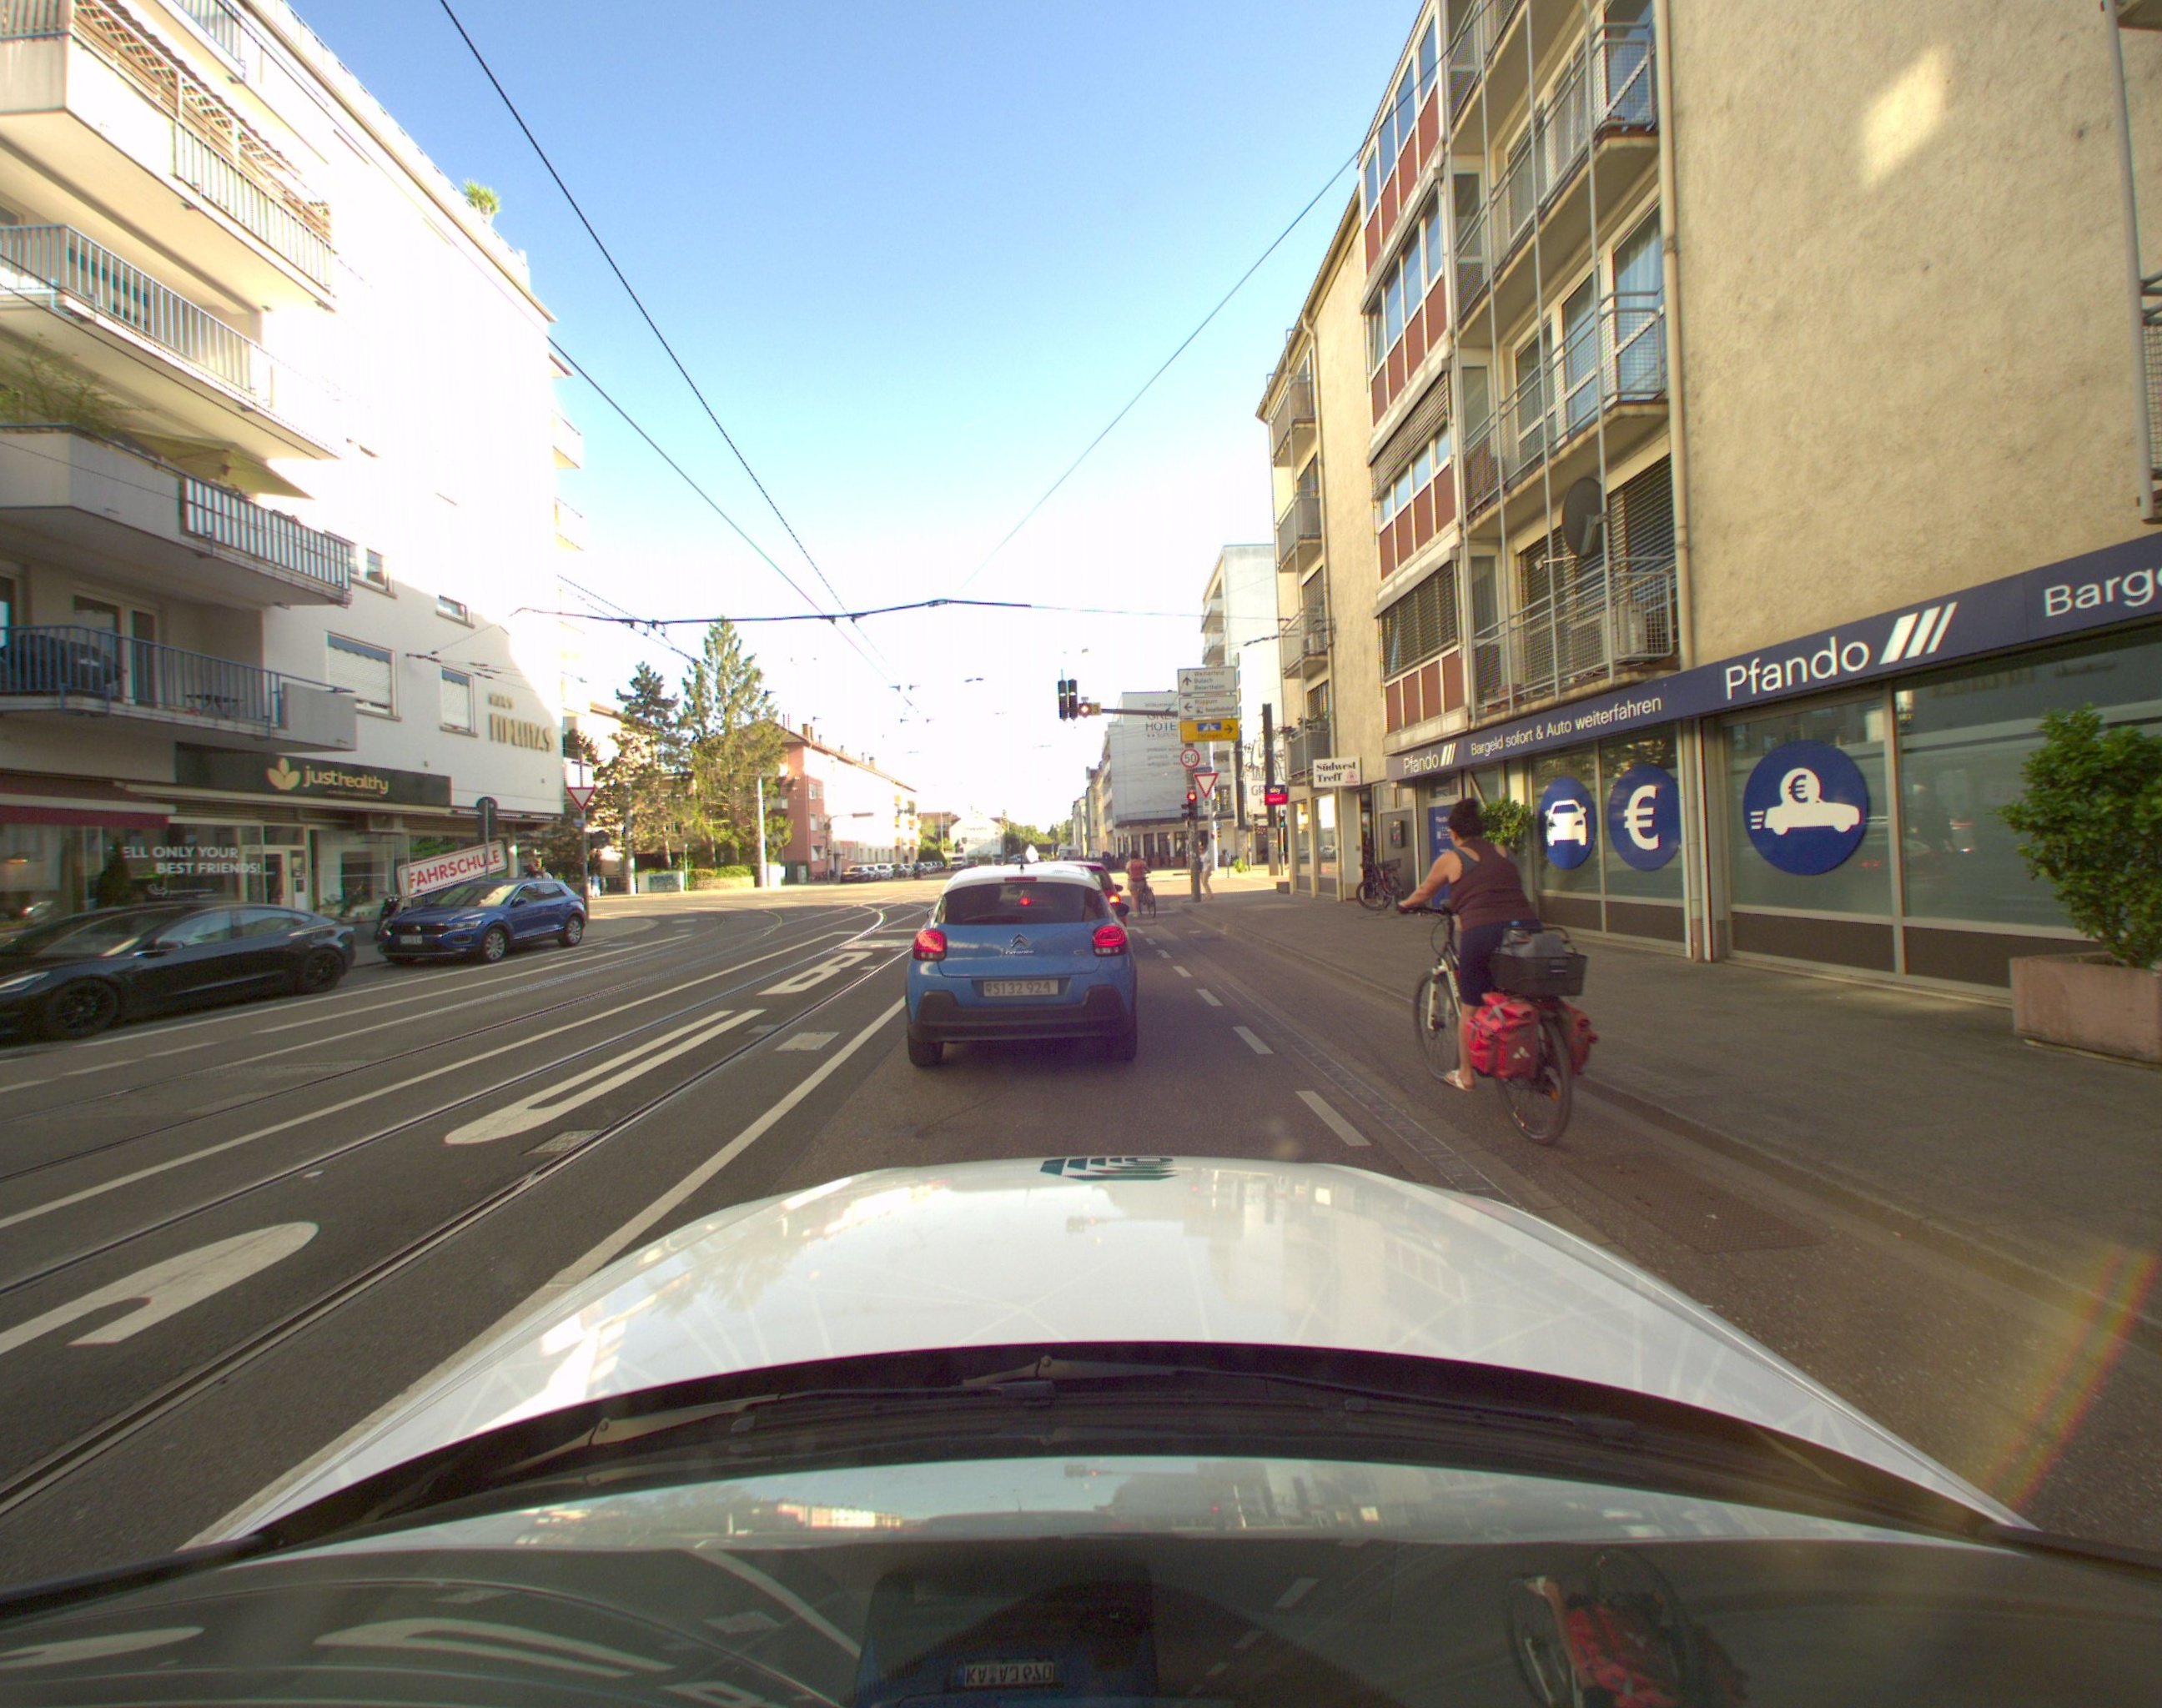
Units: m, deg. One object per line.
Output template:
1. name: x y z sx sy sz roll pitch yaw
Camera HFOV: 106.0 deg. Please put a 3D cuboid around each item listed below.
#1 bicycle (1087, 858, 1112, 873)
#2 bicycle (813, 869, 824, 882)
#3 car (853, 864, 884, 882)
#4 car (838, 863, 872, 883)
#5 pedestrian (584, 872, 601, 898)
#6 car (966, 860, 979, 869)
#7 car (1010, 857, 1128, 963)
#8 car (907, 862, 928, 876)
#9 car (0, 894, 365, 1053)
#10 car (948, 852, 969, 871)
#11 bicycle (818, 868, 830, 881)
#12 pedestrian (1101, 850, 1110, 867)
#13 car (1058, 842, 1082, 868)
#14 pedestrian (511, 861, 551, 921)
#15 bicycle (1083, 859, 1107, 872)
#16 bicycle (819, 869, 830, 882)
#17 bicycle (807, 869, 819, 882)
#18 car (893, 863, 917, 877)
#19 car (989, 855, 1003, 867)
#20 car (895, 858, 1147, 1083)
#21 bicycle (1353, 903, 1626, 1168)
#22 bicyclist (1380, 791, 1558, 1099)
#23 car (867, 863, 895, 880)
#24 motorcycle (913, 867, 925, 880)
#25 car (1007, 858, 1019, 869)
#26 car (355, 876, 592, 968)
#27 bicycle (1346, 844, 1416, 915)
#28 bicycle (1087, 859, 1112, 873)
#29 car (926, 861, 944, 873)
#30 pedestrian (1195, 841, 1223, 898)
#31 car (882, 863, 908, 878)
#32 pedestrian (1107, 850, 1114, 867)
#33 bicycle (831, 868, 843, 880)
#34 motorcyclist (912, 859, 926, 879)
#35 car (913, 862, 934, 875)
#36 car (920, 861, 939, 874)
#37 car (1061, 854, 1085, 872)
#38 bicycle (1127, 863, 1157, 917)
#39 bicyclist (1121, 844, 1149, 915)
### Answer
1. bicycle: 1.519 0.932 65.937 1.901 1.064 0.641 -2 0 -6
2. bicycle: -21.972 1.793 68.190 0.537 1.082 1.905 -2 0 -9
3. car: -19.568 1.717 75.246 1.947 1.519 4.040 -2 0 -4
4. car: -19.288 1.600 69.622 1.947 1.519 3.995 -2 0 -4
5. pedestrian: -33.319 2.108 55.554 0.810 1.702 0.677 -2 0 -15
6. car: -19.333 1.816 145.247 1.947 1.519 3.995 -2 0 -4
7. car: -0.226 0.811 13.710 1.675 1.462 3.997 -1 0 -2
8. car: -19.848 1.785 99.027 1.947 1.519 3.995 -2 0 -4
9. car: -11.983 1.331 10.424 1.720 1.403 4.486 0 0 -2
10. car: -18.122 1.103 120.578 2.489 2.712 5.828 -2 0 -5
11. bicycle: -23.047 1.842 73.109 0.536 1.082 1.908 -2 0 -4
12. pedestrian: 2.106 0.397 70.381 0.520 1.420 0.550 -3 0 22
13. car: -1.036 0.087 73.449 2.074 2.269 5.647 -1 0 -2
14. pedestrian: -17.286 1.169 25.598 0.761 1.834 0.725 -2 0 28
15. bicycle: 1.162 0.954 68.446 1.901 1.064 0.641 -2 0 -6
16. bicycle: -21.593 1.793 68.474 0.537 1.082 1.905 -2 0 -9
17. bicycle: -22.378 1.793 68.080 0.640 1.082 1.905 -2 0 -9
18. car: -19.978 1.790 92.598 1.947 1.519 3.995 -2 0 -4
19. car: -12.722 0.984 122.049 2.002 1.627 5.044 -2 0 -5
20. car: -0.452 0.792 7.501 1.675 1.462 3.997 -1 0 -2
21. bicycle: 2.236 0.909 4.771 0.615 1.103 1.886 -2 0 0
22. bicyclist: 2.225 0.485 4.757 0.615 1.630 0.760 -2 0 0
23. car: -19.557 1.684 79.858 1.947 1.519 3.995 -2 0 -4
24. motorcycle: -13.481 1.597 67.763 0.751 0.976 2.092 -2 0 -7
25. car: -14.260 1.979 171.413 2.333 2.039 5.044 -2 0 -4
26. car: -11.878 1.244 16.327 1.720 1.505 4.113 0 0 -2
27. bicycle: 5.759 0.459 15.741 0.637 1.264 1.911 -2 0 2
28. bicycle: 1.528 0.962 67.243 1.901 1.064 0.641 -2 0 -6
29. car: -20.721 1.851 115.686 1.947 1.519 3.995 -2 0 -4
30. pedestrian: 3.840 0.455 24.417 0.747 1.635 0.742 -2 0 7
31. car: -19.727 1.739 86.531 1.947 1.519 3.995 -2 0 -4
32. pedestrian: 2.526 0.381 70.119 0.467 1.420 0.524 -2 0 -11
33. bicycle: -22.714 1.860 75.805 0.608 1.082 1.908 -2 0 -4
34. motorcyclist: -13.472 1.270 67.696 0.990 1.631 0.737 -2 0 -7
35. car: -20.094 1.800 104.041 1.947 1.519 3.995 -2 0 -4
36. car: -20.294 1.772 109.330 1.947 1.519 3.995 -2 0 -4
37. car: -0.713 0.743 67.988 1.783 1.359 3.909 -2 0 -4
38. bicycle: 1.533 0.888 20.728 0.611 1.264 1.911 -2 0 2
39. bicyclist: 1.370 0.634 20.695 0.598 1.746 1.084 -2 0 2
